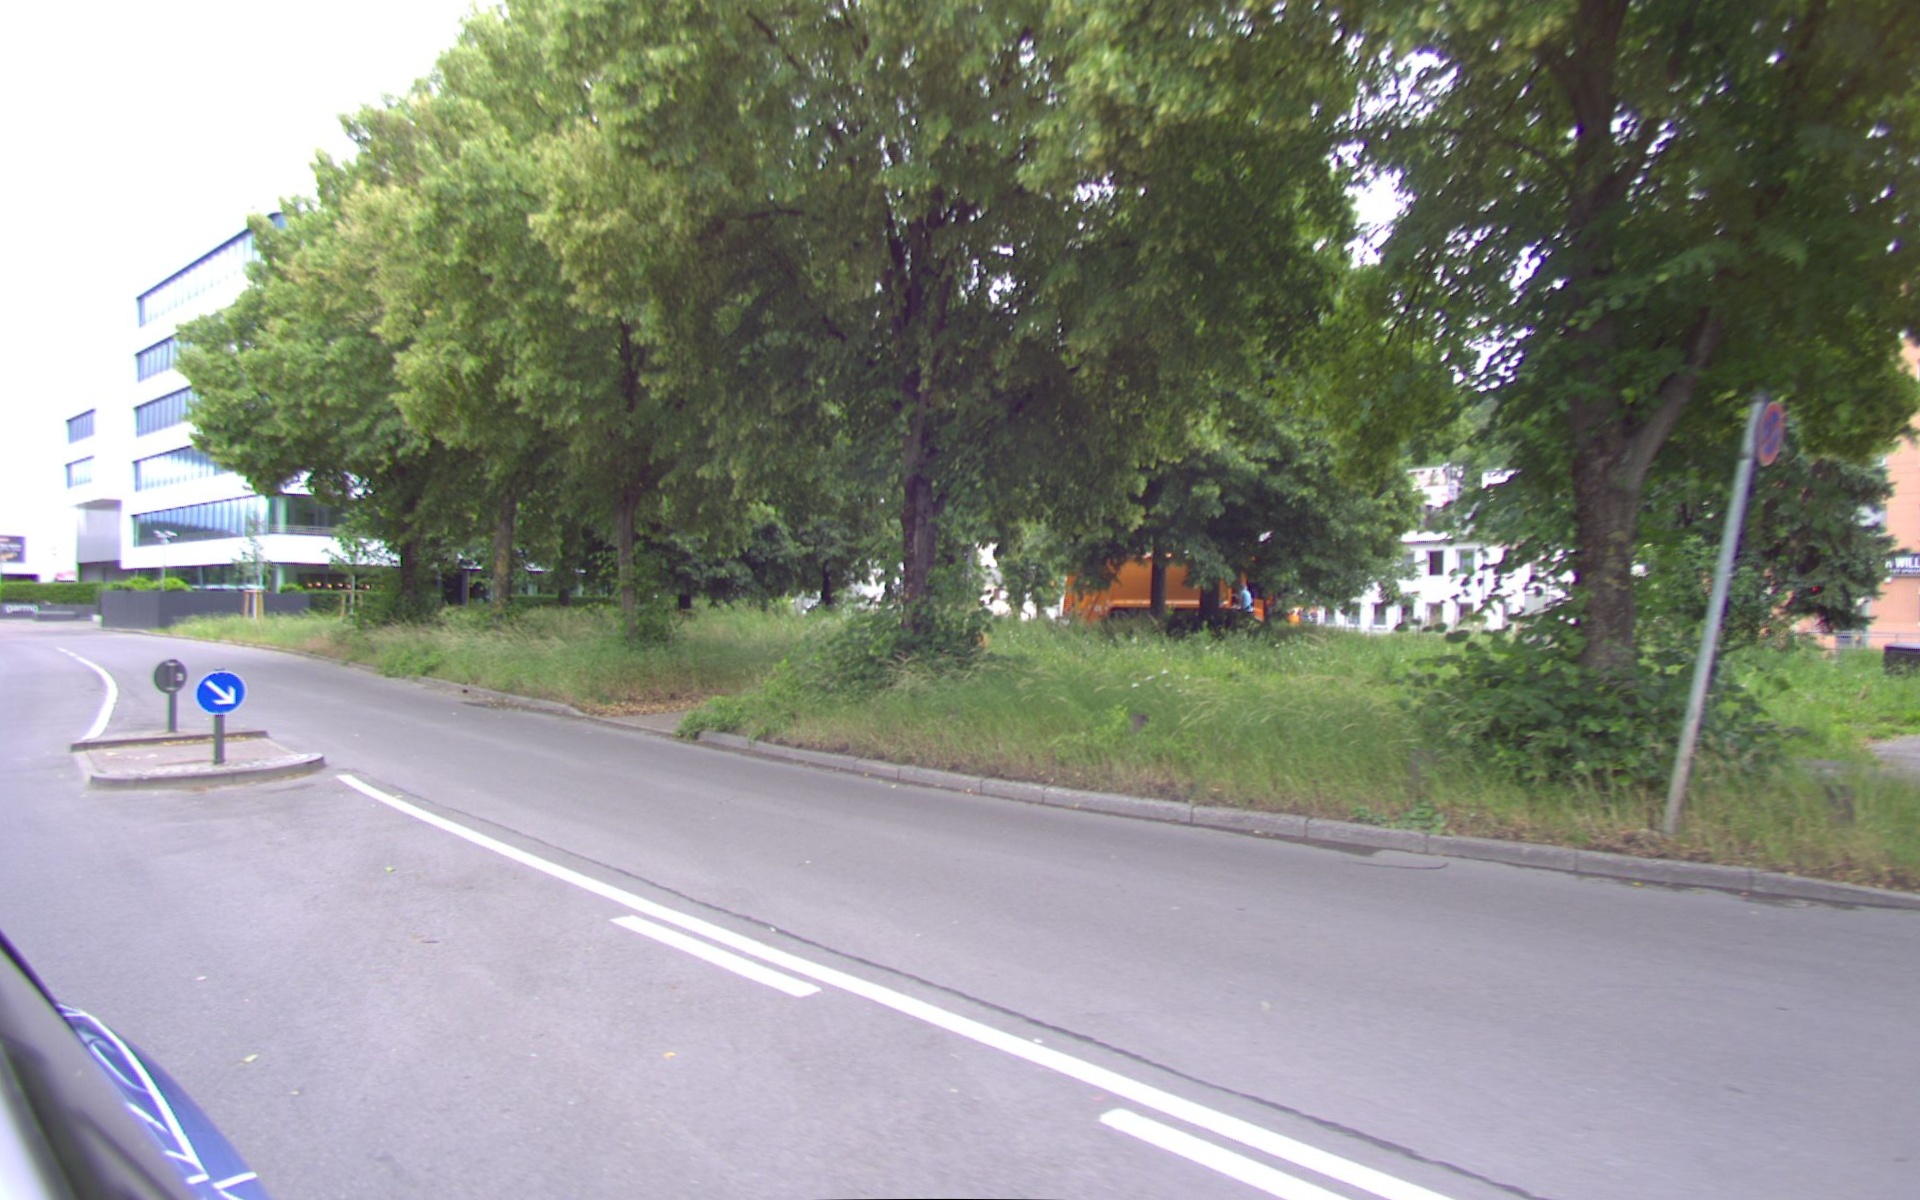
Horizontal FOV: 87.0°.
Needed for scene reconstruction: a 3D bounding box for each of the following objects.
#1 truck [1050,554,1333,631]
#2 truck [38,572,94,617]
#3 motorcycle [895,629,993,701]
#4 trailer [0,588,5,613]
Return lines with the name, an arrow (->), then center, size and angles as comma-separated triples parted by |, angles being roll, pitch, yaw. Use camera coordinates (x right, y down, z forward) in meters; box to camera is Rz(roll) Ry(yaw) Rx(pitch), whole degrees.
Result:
truck -> 8.356, -0.187, 37.942 | 10.245, 2.541, 2.942 | 0, -2, 42
truck -> -83.592, -0.456, 94.725 | 2.704, 4.061, 7.113 | 1, -1, -32
motorcycle -> -0.311, 1.118, 17.974 | 0.558, 1.177, 2.039 | 2, -2, -40
trailer -> -163.401, -0.185, 164.057 | 11.846, 4.164, 3.056 | 4, -3, -34
